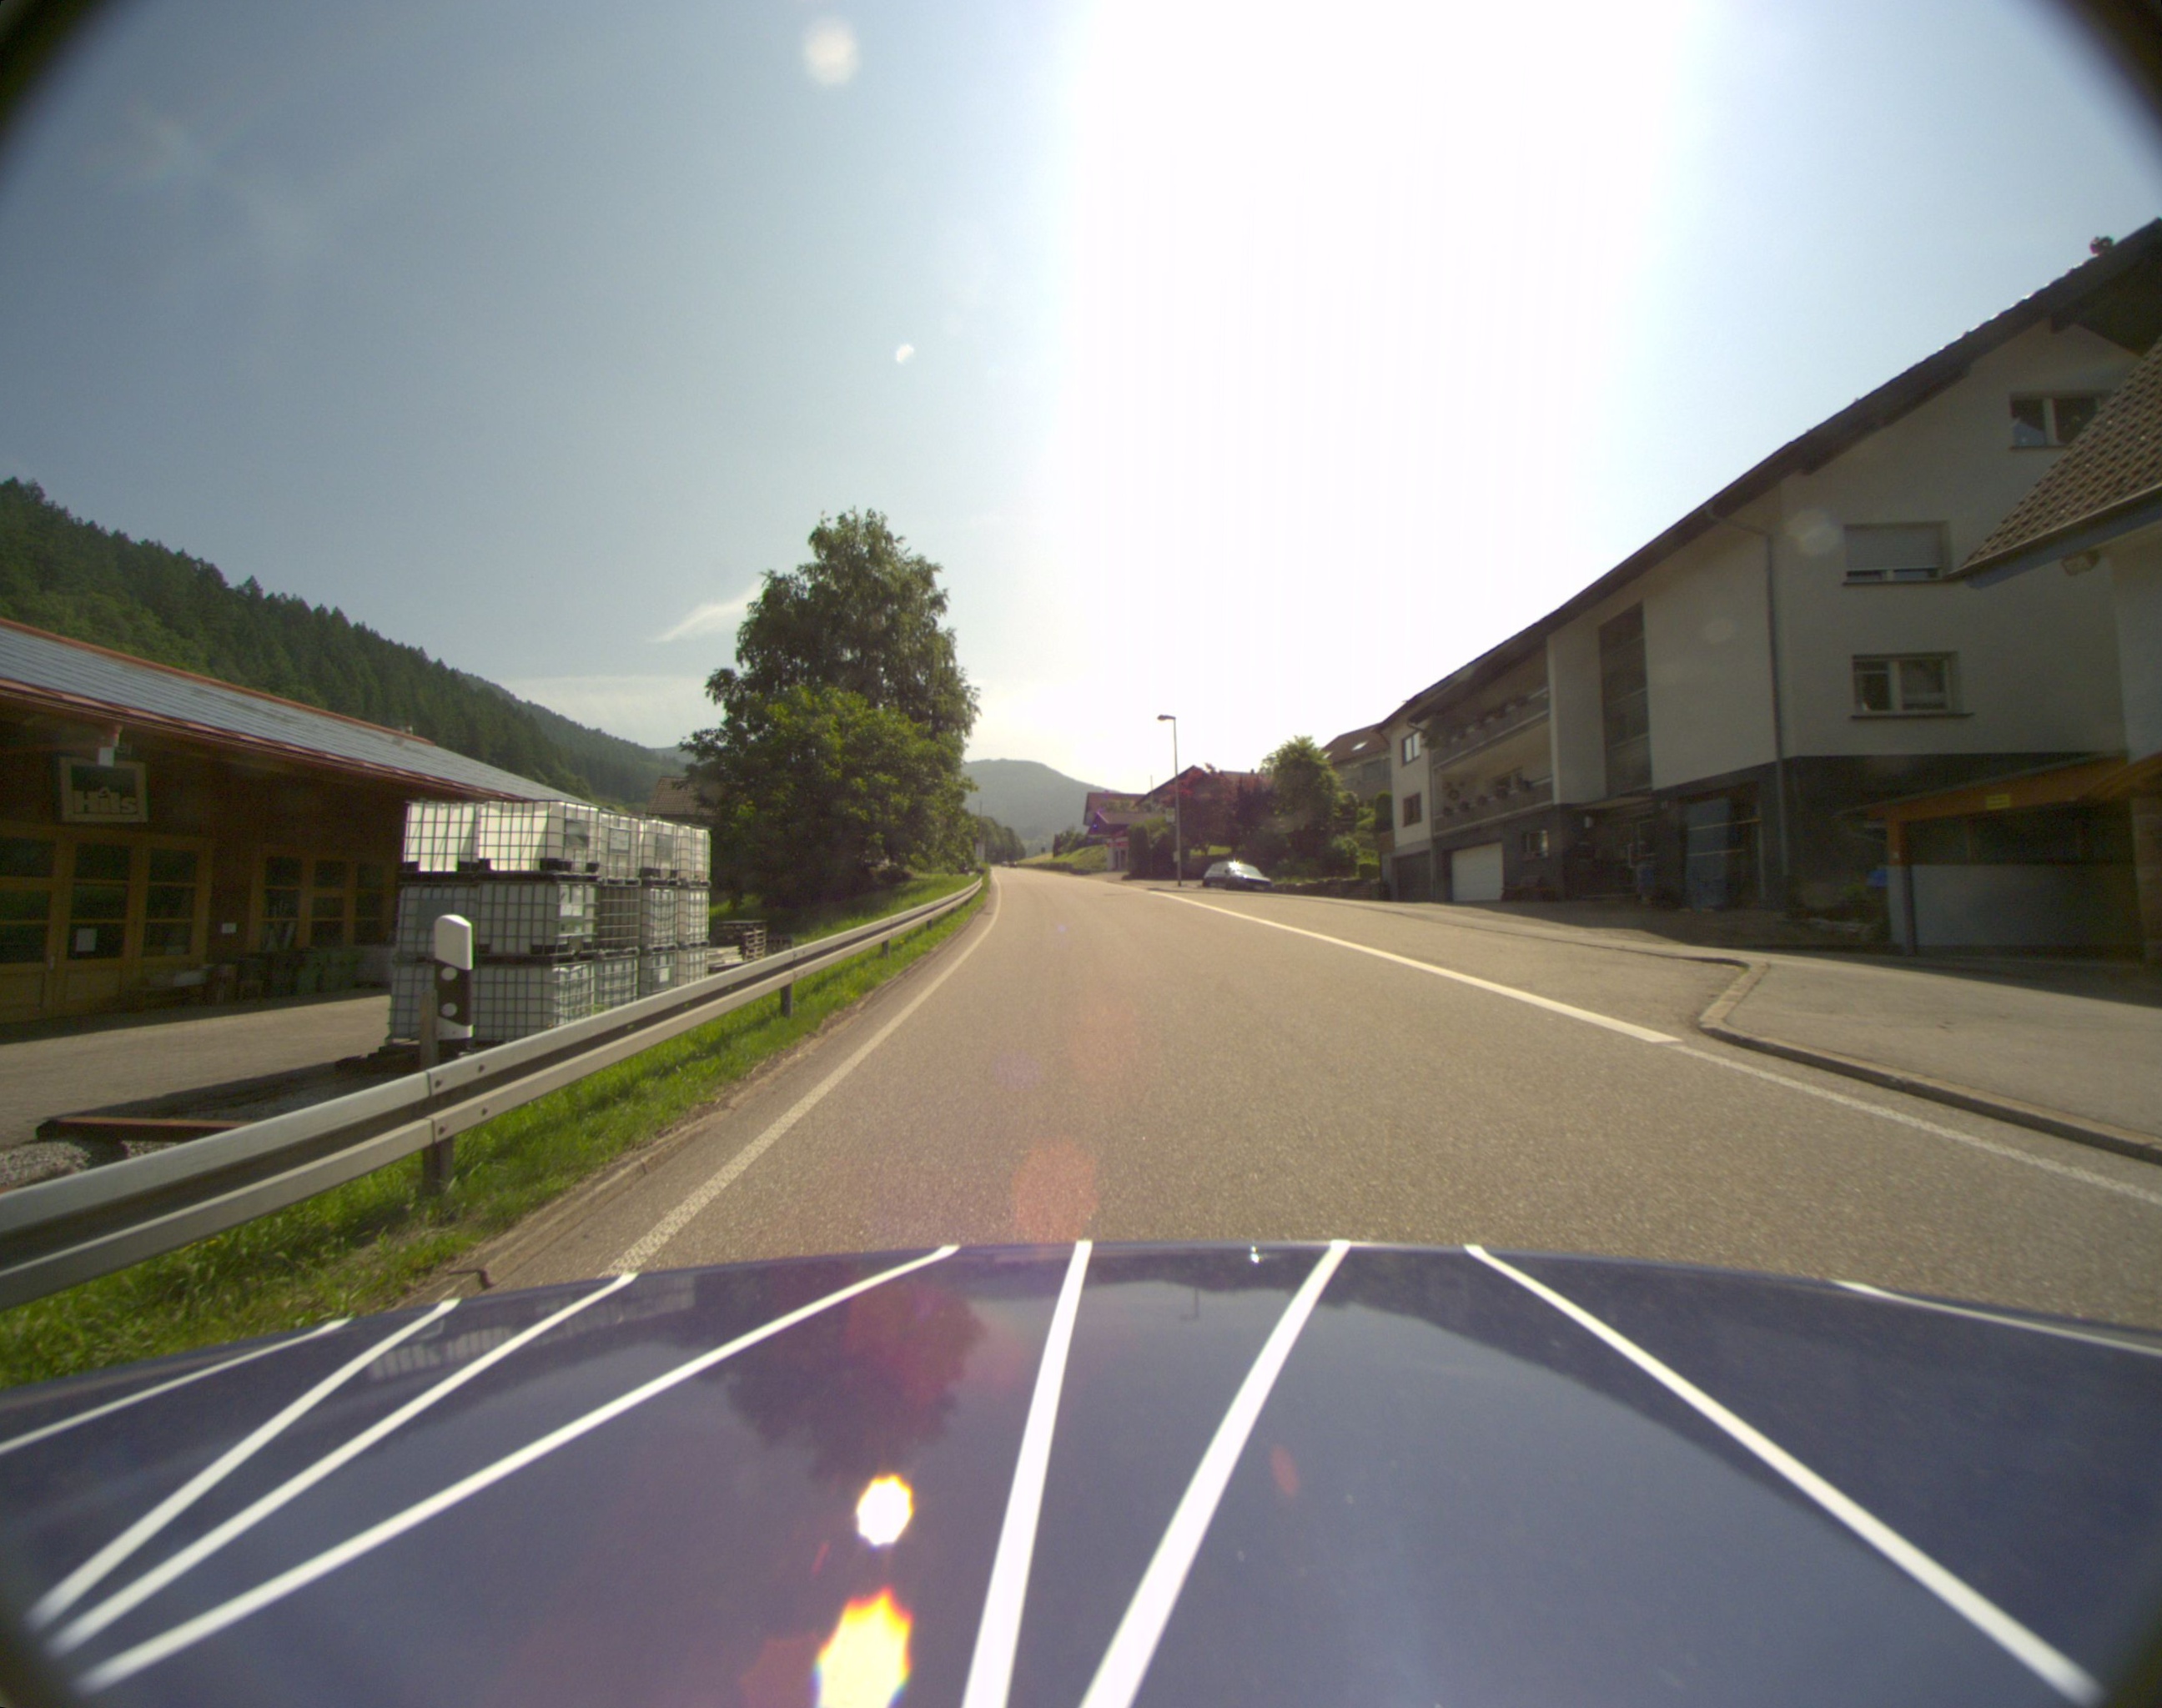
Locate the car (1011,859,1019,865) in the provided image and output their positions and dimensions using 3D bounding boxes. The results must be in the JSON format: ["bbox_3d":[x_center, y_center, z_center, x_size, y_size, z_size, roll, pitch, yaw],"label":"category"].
[{"bbox_3d":[-15.524,1.837,178.580,1.817,1.500,4.259,-1,0,-8],"label":"car"}]

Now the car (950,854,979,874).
[{"bbox_3d":[-10.771,0.922,70.445,1.813,1.802,4.664,1,0,1],"label":"car"}]

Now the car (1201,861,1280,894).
[{"bbox_3d":[6.974,1.001,33.757,1.788,1.331,4.691,0,0,-11],"label":"car"}]

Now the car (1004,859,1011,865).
[{"bbox_3d":[-21.488,2.351,221.036,1.817,1.500,4.259,-1,0,-9],"label":"car"}]
